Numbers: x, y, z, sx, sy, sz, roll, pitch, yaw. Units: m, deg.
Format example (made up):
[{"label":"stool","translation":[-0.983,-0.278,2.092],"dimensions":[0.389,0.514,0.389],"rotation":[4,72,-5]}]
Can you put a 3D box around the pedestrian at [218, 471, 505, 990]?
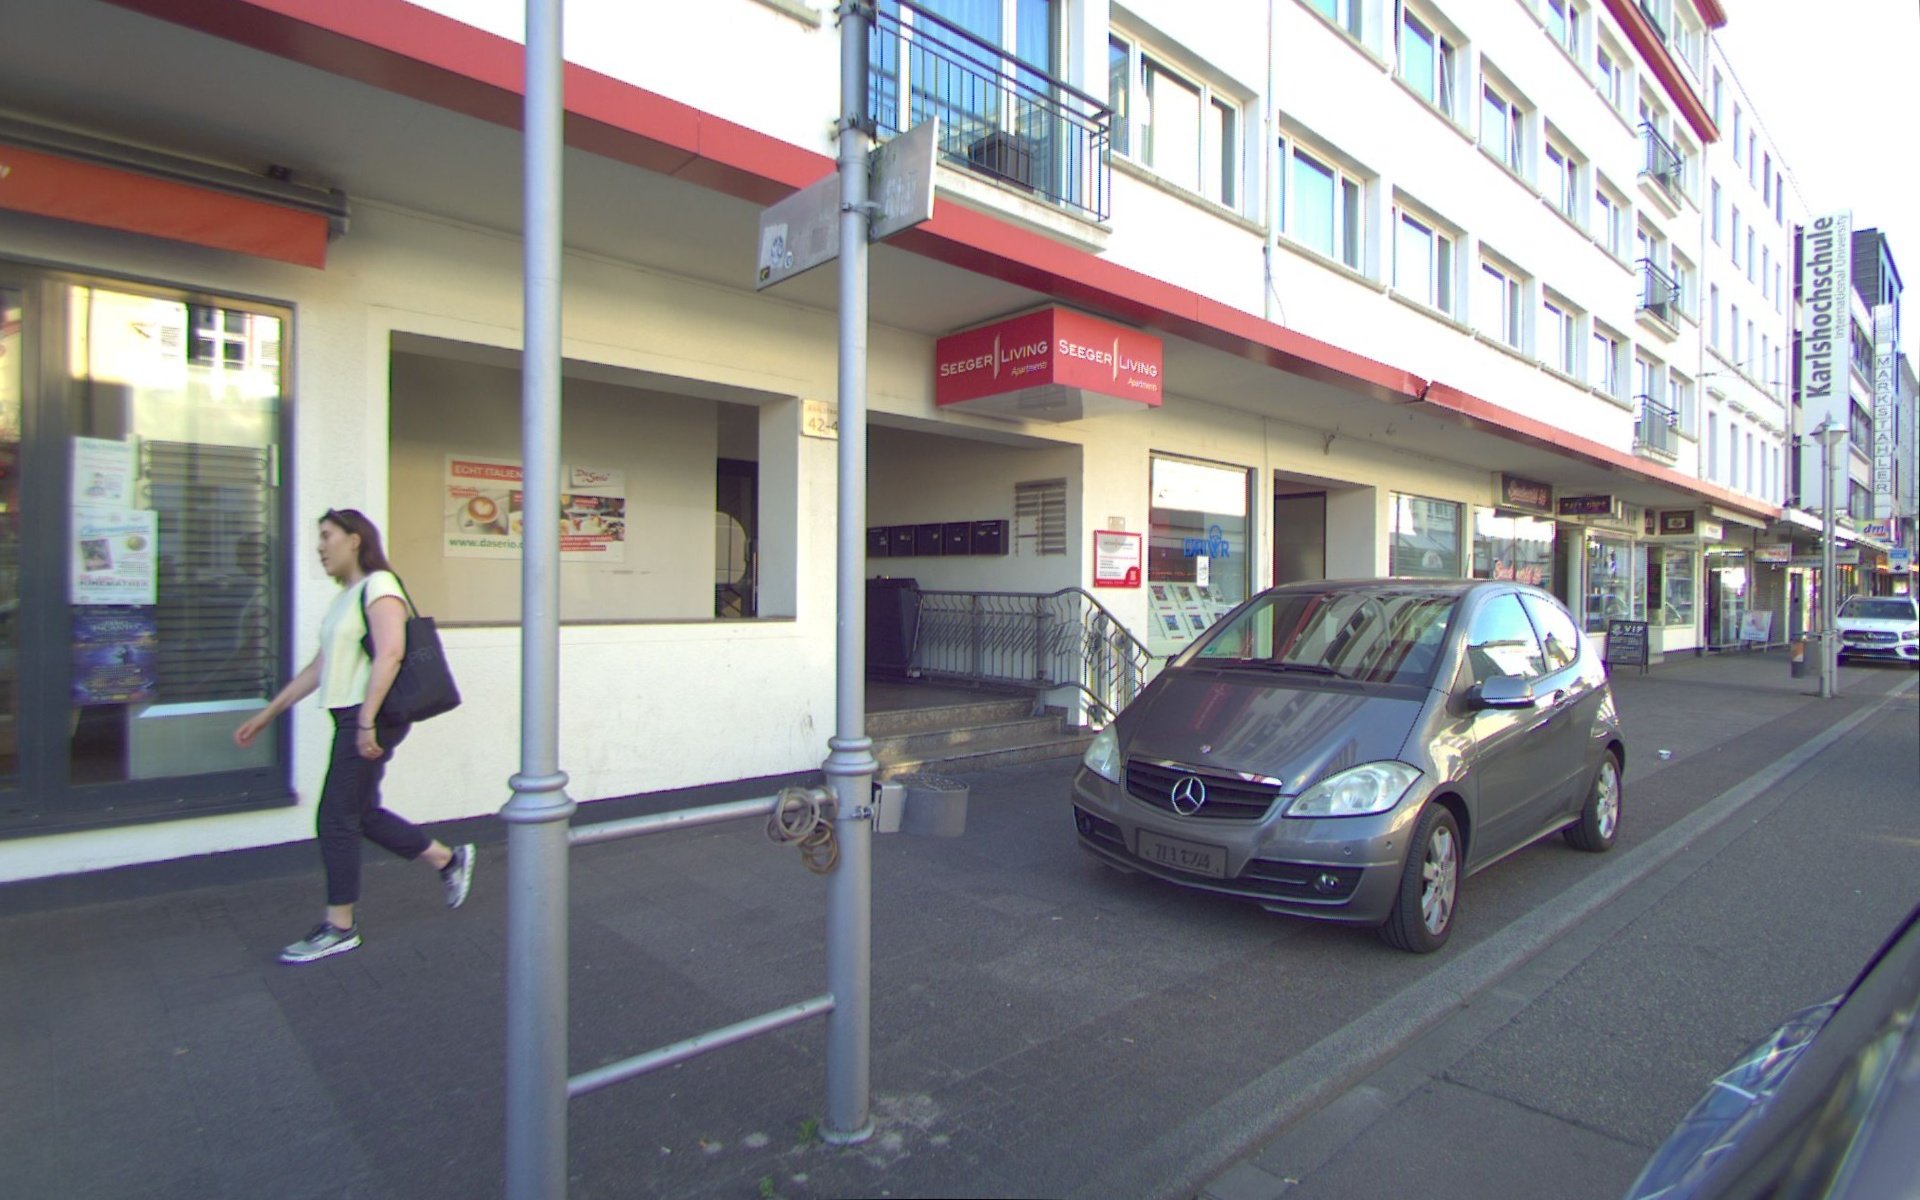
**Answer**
[{"label":"pedestrian","translation":[-2.431,0.443,4.099],"dimensions":[0.915,1.797,0.805],"rotation":[0,1,-37]}]

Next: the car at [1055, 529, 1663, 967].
[{"label":"car","translation":[2.400,0.534,5.672],"dimensions":[3.586,1.652,1.748],"rotation":[0,1,-42]}]

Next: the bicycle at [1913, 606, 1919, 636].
[{"label":"bicycle","translation":[39.551,0.870,40.651],"dimensions":[0.658,1.174,1.789],"rotation":[0,1,-43]}]

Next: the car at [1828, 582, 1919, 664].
[{"label":"car","translation":[22.548,0.480,24.417],"dimensions":[5.106,1.745,1.852],"rotation":[-1,3,-43]}]

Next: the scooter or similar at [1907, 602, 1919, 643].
[{"label":"scooter or similar","translation":[29.880,0.723,31.181],"dimensions":[0.314,1.247,0.994],"rotation":[0,2,-43]}]
